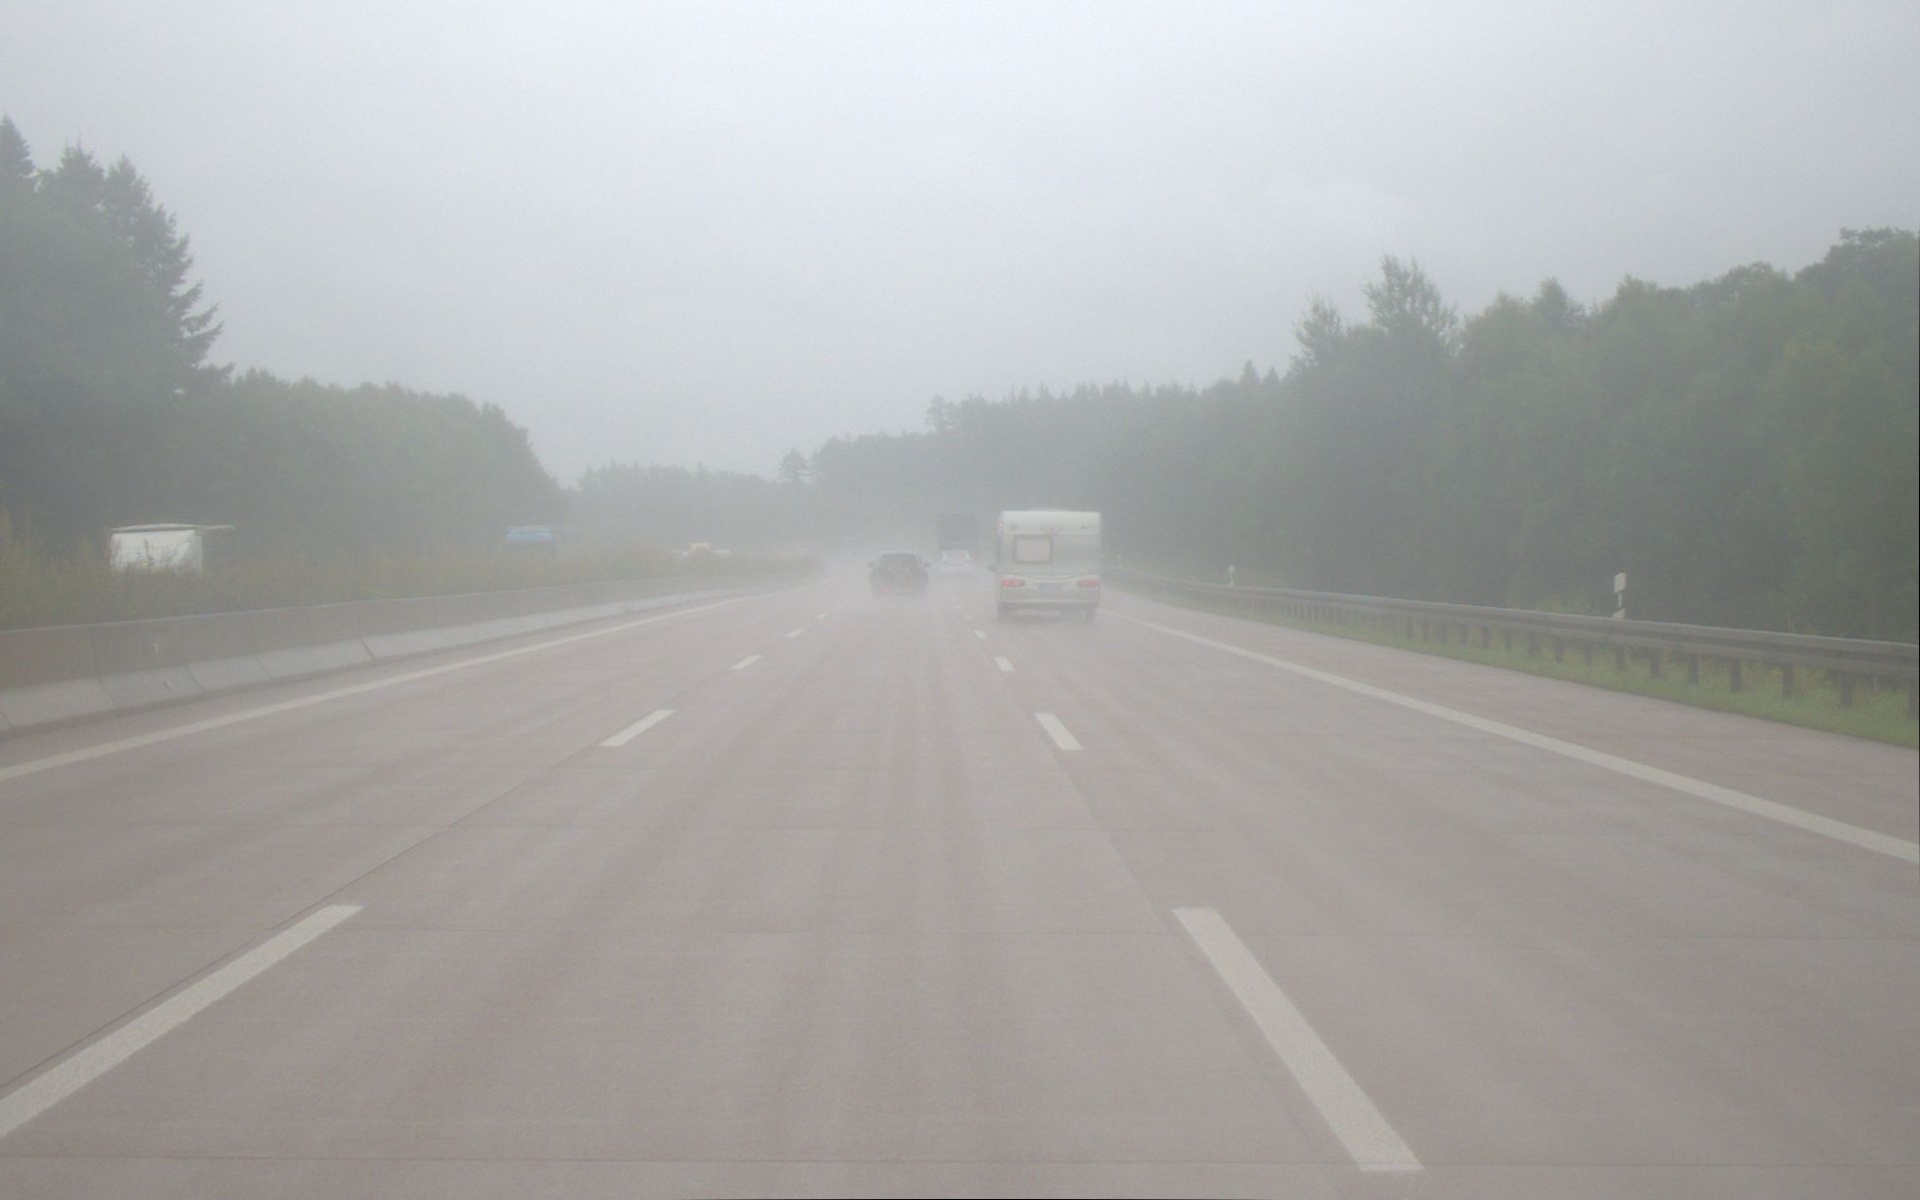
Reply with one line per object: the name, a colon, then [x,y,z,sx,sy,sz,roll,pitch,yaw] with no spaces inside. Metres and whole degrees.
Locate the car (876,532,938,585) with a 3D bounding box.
car: [-1.730,-1.393,114.224,1.937,1.723,4.130,0,1,1]

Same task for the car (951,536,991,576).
car: [0.565,-2.196,170.210,1.937,1.974,4.130,0,1,1]

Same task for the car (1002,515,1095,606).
car: [1.983,-0.919,78.249,2.058,1.993,4.098,0,1,1]
